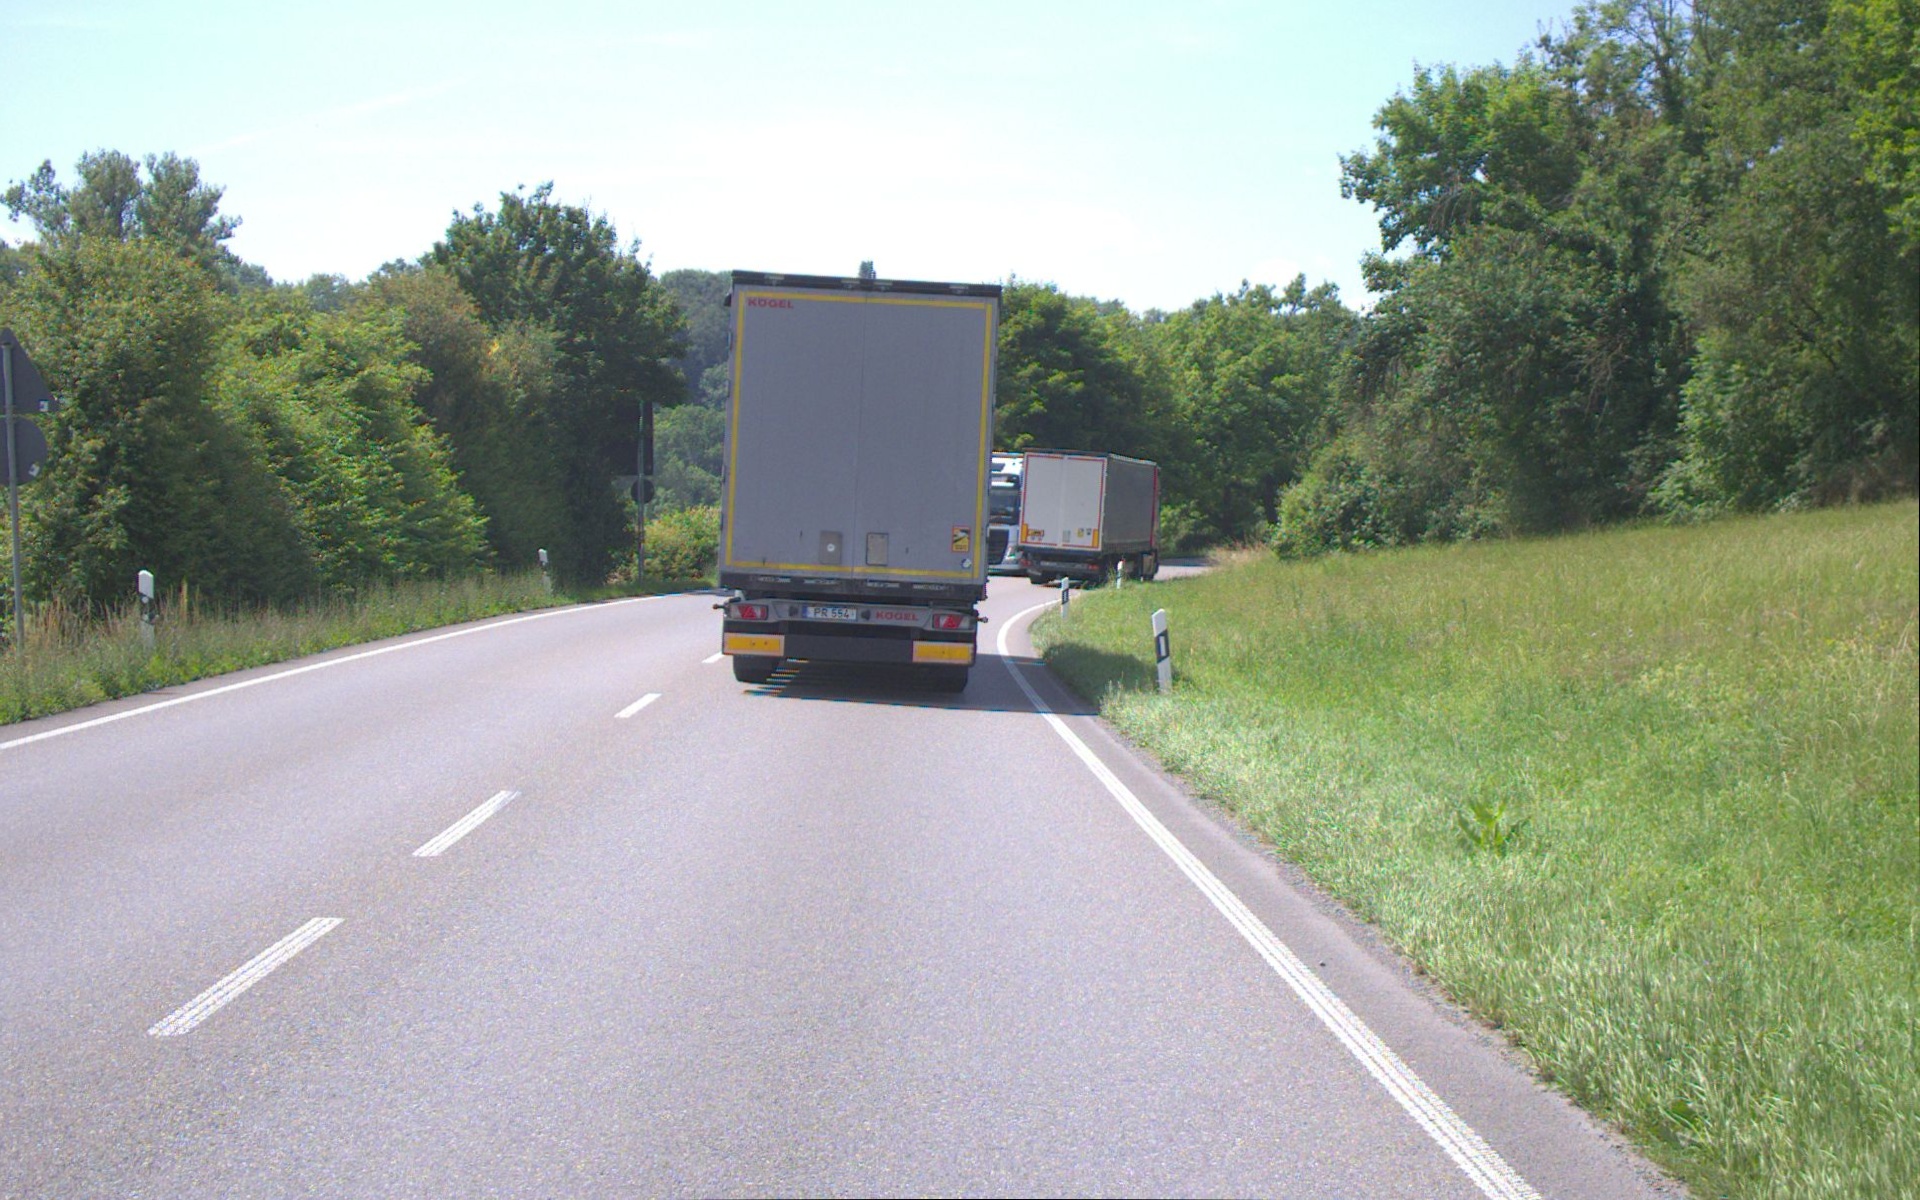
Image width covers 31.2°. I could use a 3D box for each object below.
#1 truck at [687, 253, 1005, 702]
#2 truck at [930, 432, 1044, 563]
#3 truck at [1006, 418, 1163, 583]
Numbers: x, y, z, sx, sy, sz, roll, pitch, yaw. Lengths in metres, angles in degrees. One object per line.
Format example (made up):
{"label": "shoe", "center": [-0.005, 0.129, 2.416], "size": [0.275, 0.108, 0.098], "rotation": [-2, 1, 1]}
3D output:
{"label": "truck", "center": [-1.183, -1.275, 39.559], "size": [2.801, 4.054, 15.326], "rotation": [2, 1, -1]}
{"label": "truck", "center": [0.937, -3.386, 115.265], "size": [2.560, 4.101, 5.797], "rotation": [5, 1, 10]}
{"label": "truck", "center": [4.126, -3.107, 108.980], "size": [3.106, 4.689, 16.584], "rotation": [3, 2, 8]}
